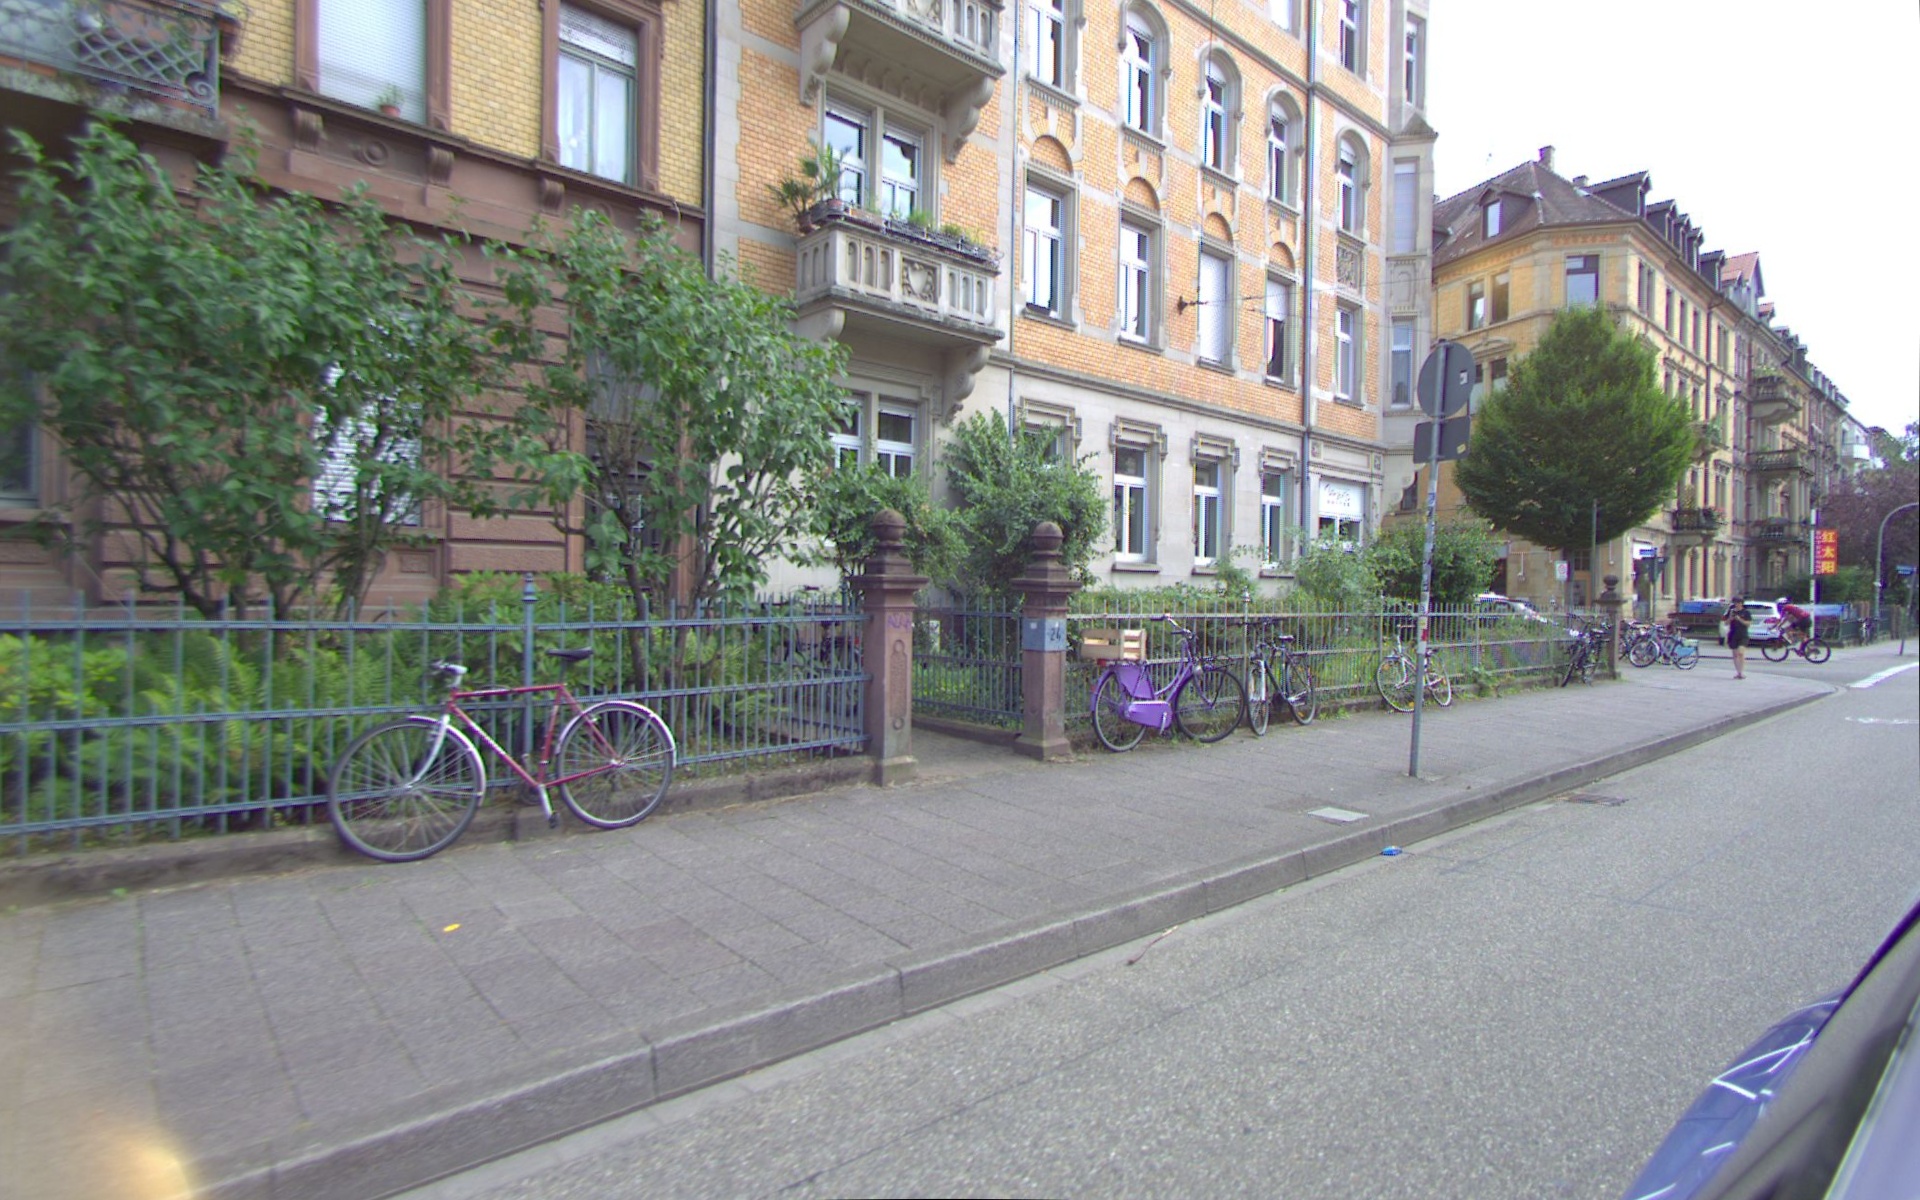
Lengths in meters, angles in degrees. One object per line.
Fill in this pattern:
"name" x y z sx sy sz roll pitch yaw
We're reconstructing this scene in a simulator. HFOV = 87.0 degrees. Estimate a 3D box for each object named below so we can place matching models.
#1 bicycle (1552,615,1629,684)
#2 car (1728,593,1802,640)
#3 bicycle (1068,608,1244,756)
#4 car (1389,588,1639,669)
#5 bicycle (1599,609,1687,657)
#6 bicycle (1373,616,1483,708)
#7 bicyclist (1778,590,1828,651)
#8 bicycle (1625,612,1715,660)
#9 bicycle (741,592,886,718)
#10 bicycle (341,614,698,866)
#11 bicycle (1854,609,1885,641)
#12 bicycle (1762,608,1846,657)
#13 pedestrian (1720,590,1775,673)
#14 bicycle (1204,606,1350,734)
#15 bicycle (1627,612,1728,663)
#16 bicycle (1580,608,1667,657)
"bicycle" 10.174 0.765 16.311 1.643 0.994 0.580 0 4 -43
"car" 28.491 0.549 35.781 1.751 1.544 3.938 1 1 43
"bicycle" 1.729 0.658 8.803 1.643 1.125 0.580 0 4 -43
"car" 11.470 0.527 21.204 1.672 1.526 4.294 1 0 -40
"bicycle" 17.276 0.812 25.646 0.521 1.142 1.898 1 1 -20
"bicycle" 5.804 0.731 12.516 1.643 0.994 0.580 0 4 -43
"bicyclist" 22.738 0.553 27.303 0.568 1.621 0.860 3 -2 -22
"bicycle" 18.263 0.899 26.091 0.521 1.142 1.897 1 1 -24
"bicycle" -1.501 0.503 10.155 0.601 1.126 1.669 1 1 -42
"bicycle" -2.293 0.650 5.406 1.643 1.126 0.580 0 0 -43
"bicycle" 34.123 0.920 37.969 1.841 1.127 0.630 0 0 -41
"bicycle" 22.740 0.873 27.304 0.568 1.274 1.675 3 -2 -22
"pedestrian" 16.112 0.619 20.701 0.821 1.644 0.731 1 0 -41
"bicycle" 3.182 0.652 10.088 1.643 1.125 0.580 0 4 -43
"bicycle" 16.481 0.850 23.272 1.839 1.127 0.631 1 0 2
"bicycle" 16.647 0.803 25.435 0.521 1.142 1.898 1 1 -19
